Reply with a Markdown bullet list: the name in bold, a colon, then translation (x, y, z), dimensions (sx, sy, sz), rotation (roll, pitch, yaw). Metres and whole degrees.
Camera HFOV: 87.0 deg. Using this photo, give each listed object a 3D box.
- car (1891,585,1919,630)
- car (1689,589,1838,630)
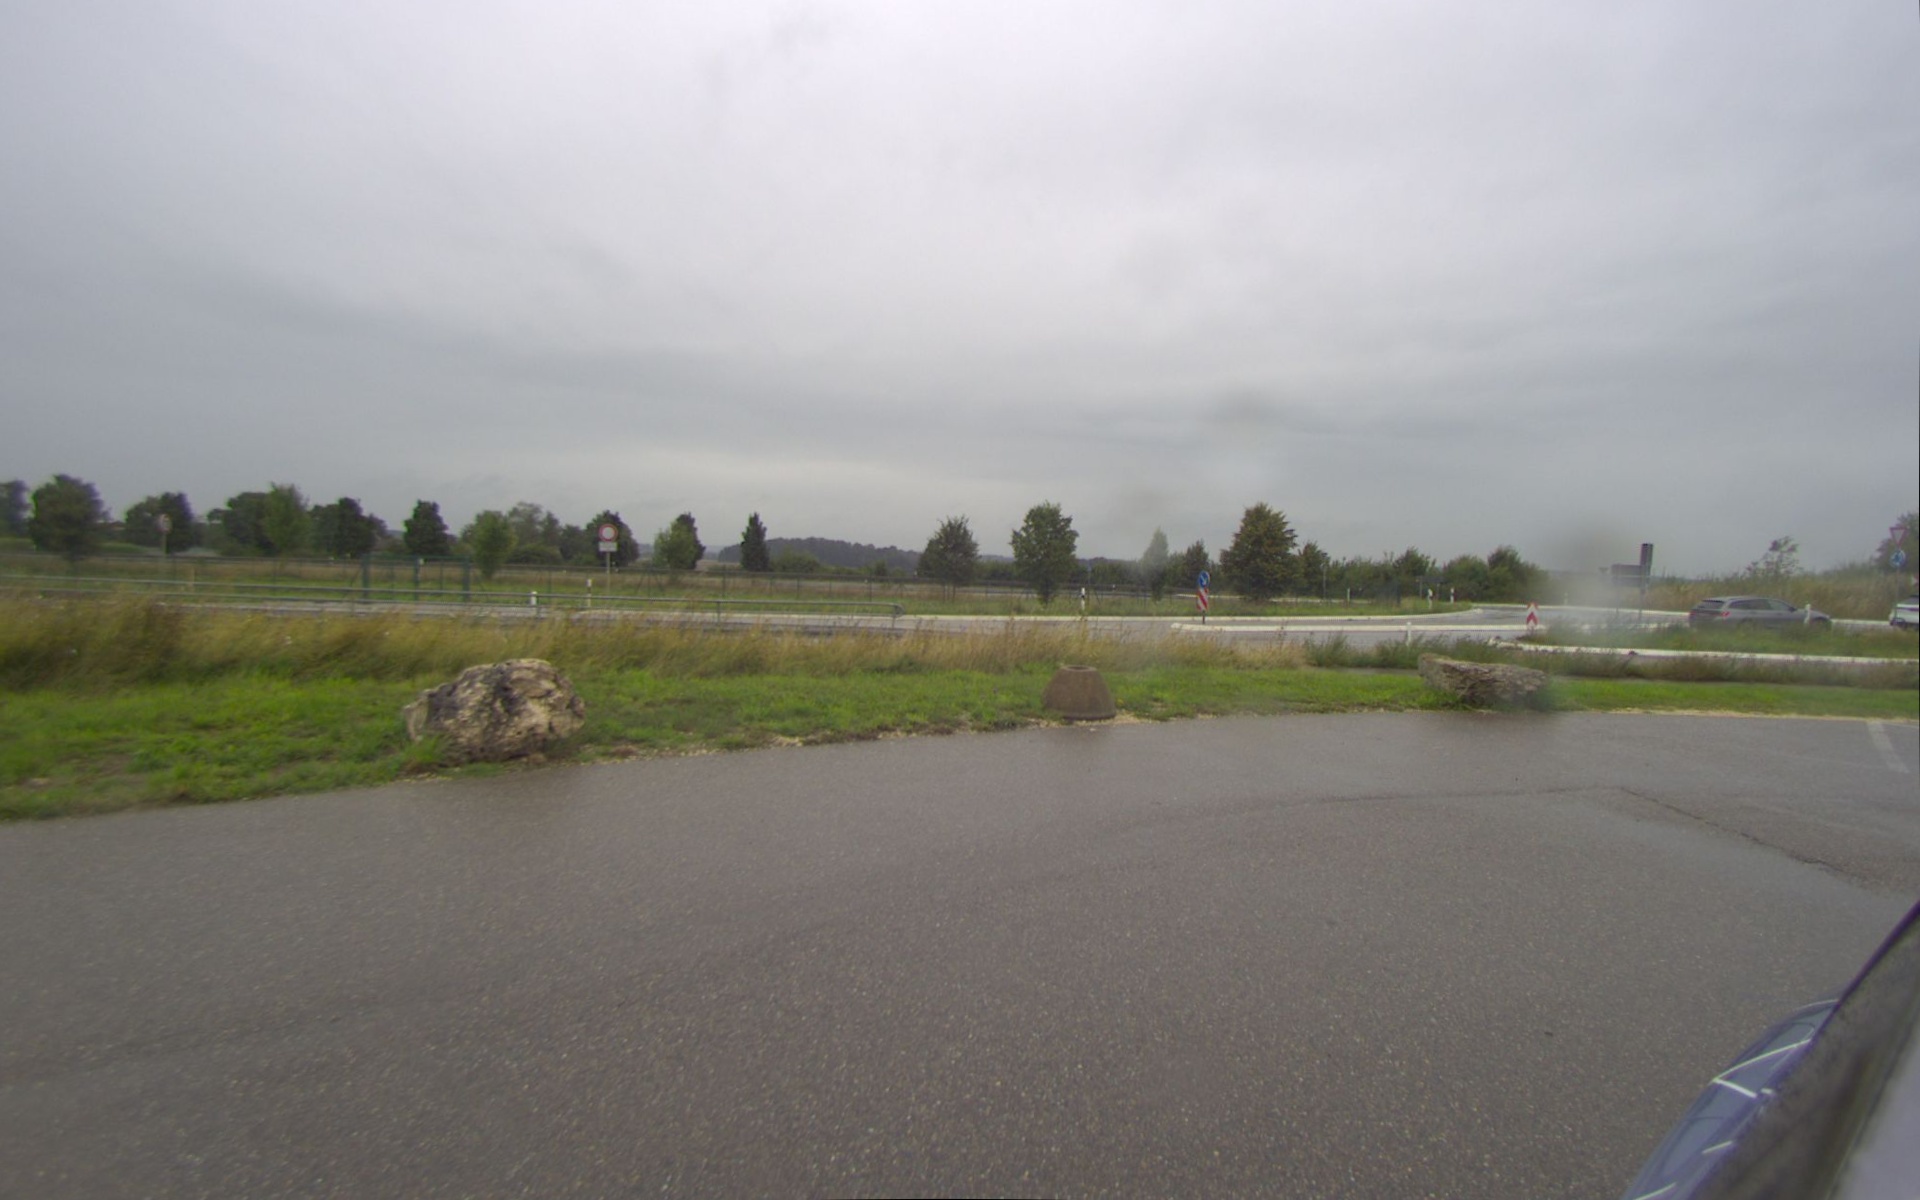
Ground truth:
- **car**: translation (37.078, 0.324, 36.846), dimensions (4.320, 1.604, 1.687), rotation (2, 1, 13)
- **car**: translation (29.228, 0.325, 36.917), dimensions (3.969, 1.342, 1.693), rotation (1, 1, 3)
